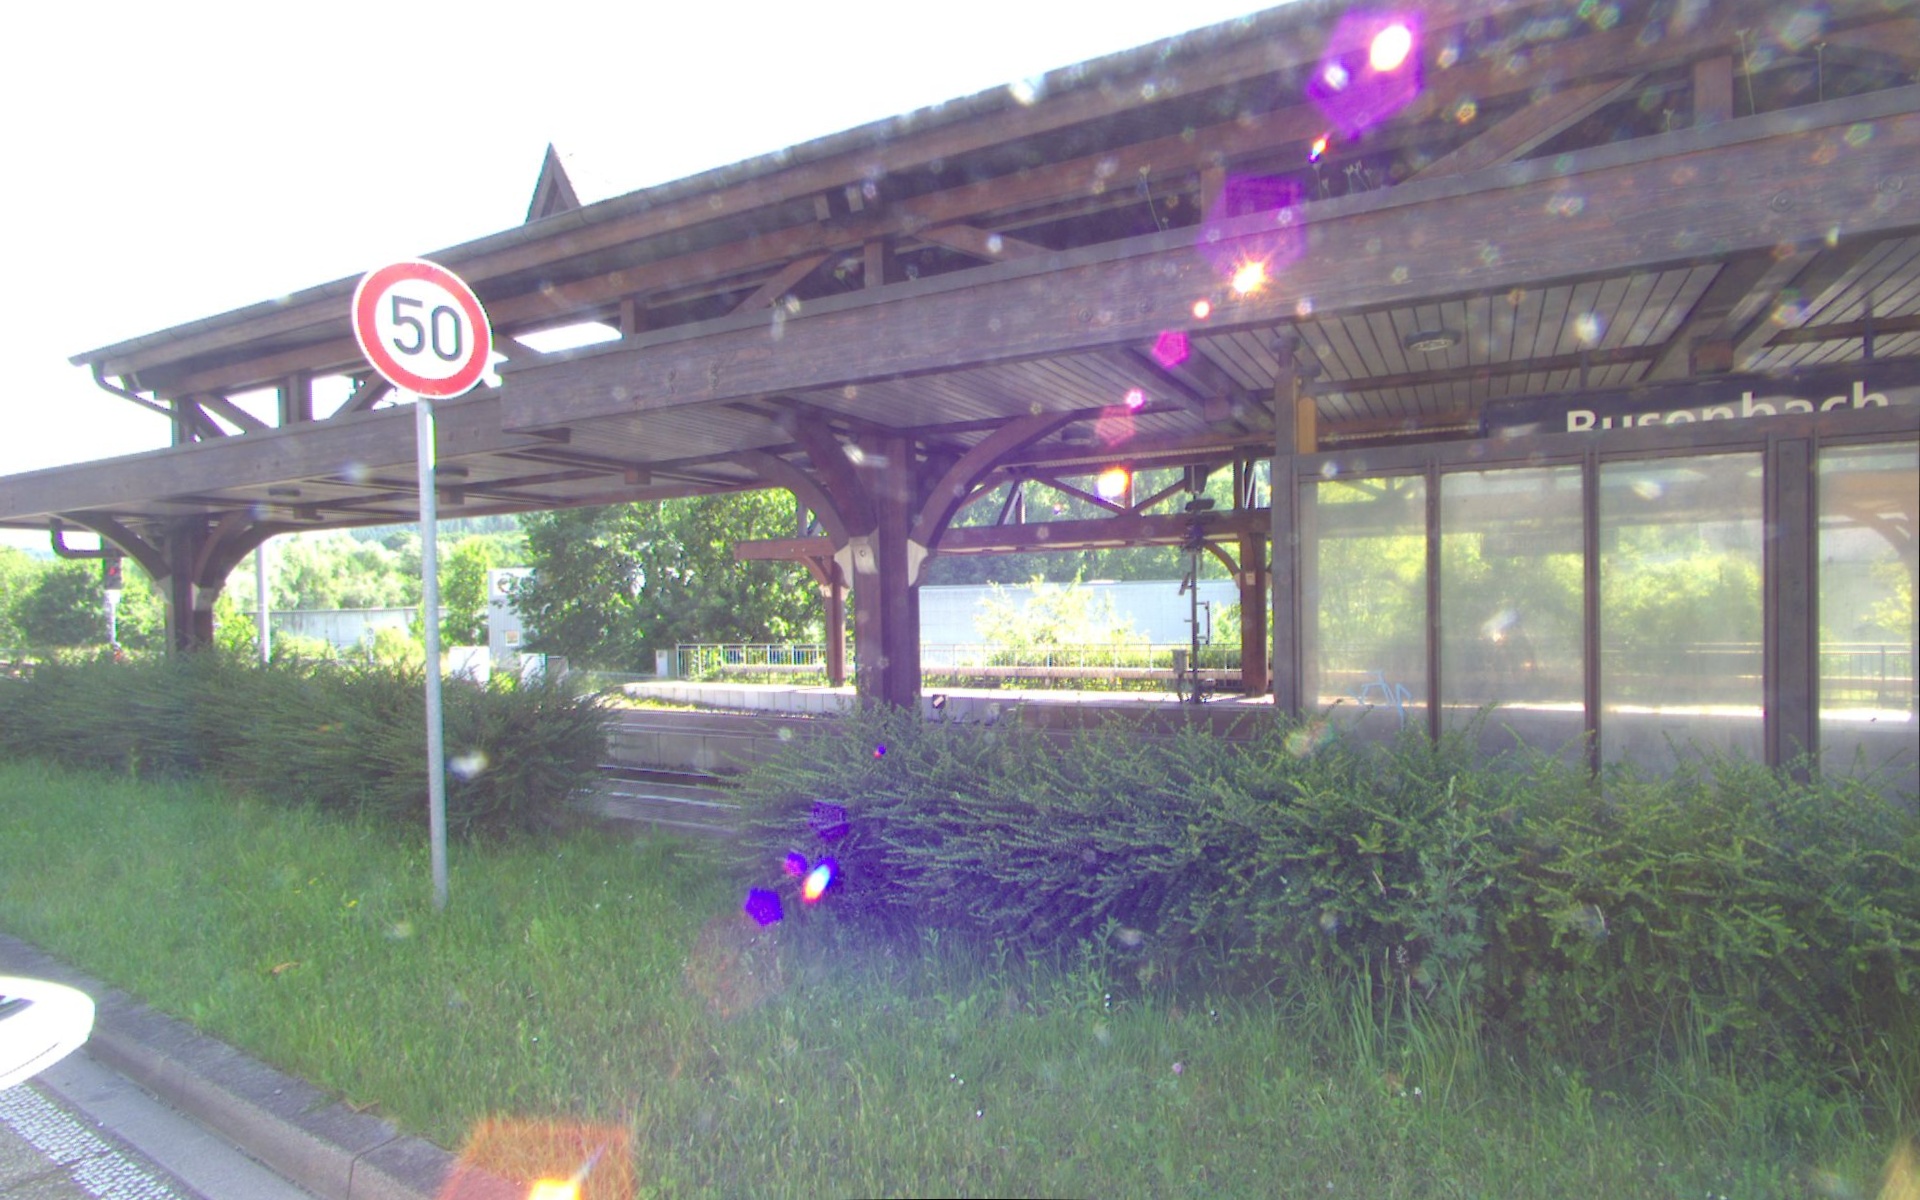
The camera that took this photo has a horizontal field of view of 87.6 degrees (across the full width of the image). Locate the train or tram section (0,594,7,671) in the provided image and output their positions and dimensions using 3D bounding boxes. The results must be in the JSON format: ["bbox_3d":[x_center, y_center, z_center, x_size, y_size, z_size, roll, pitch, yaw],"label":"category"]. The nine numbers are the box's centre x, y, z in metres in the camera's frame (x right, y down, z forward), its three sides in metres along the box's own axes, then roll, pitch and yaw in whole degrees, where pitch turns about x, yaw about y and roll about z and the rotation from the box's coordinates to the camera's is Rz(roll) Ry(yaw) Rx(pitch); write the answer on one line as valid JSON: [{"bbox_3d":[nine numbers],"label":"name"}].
[{"bbox_3d":[-48.908,1.468,46.461,14.137,3.408,2.853,-1,-1,30],"label":"train or tram section"}]
